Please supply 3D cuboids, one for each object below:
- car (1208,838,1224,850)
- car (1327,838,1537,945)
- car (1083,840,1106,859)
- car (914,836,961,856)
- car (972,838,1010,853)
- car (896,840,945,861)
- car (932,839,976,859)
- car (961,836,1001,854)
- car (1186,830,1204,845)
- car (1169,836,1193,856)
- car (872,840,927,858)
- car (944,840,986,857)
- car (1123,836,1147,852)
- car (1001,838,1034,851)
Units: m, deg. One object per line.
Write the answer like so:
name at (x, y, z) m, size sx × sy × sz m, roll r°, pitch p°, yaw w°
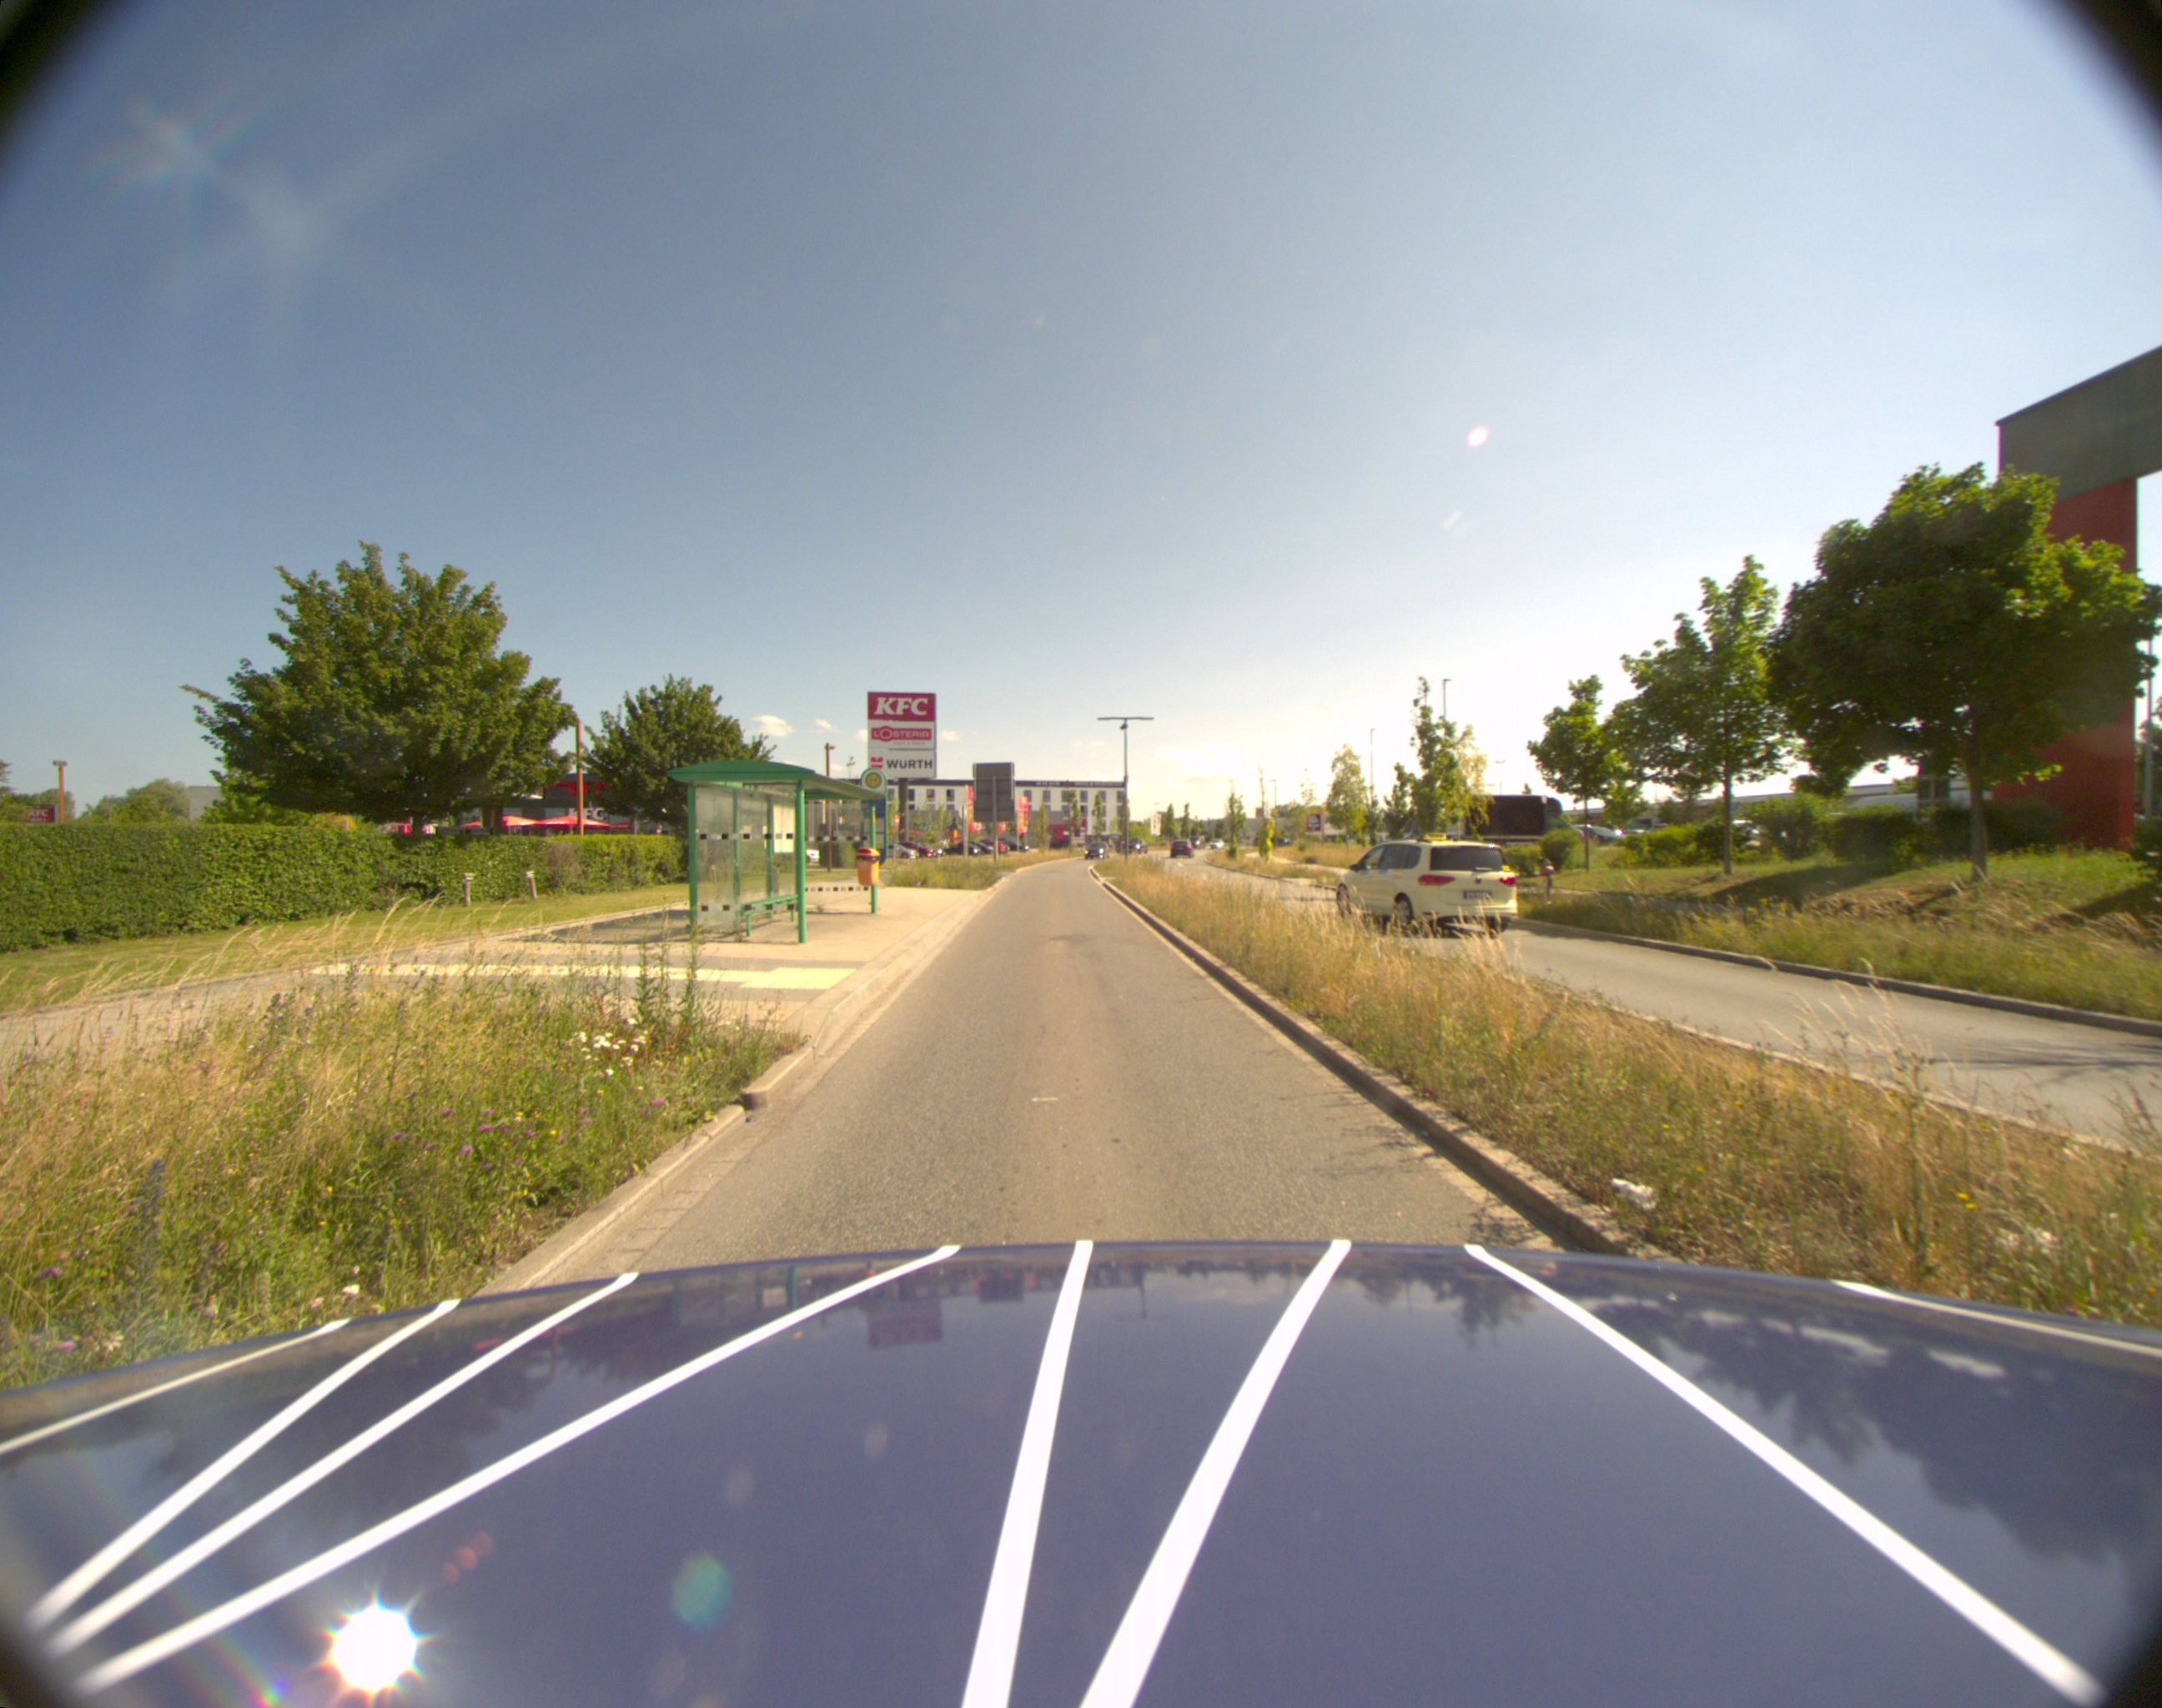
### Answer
car at (19.116, -1.415, 107.338) m, size 1.996 × 1.674 × 4.004 m, roll 0°, pitch 1°, yaw 14°
car at (6.342, 0.573, 14.344) m, size 1.862 × 1.705 × 4.155 m, roll 1°, pitch 1°, yaw -3°
car at (1.095, -0.363, 62.179) m, size 1.862 × 1.459 × 4.001 m, roll 0°, pitch -1°, yaw 1°
car at (-14.529, -0.786, 77.042) m, size 4.180 × 2.002 × 1.935 m, roll 0°, pitch 1°, yaw 12°
car at (-10.804, -1.067, 91.115) m, size 4.179 × 1.752 × 1.826 m, roll 0°, pitch 1°, yaw 16°
car at (-15.634, -0.369, 74.037) m, size 4.179 × 2.002 × 1.935 m, roll 0°, pitch 1°, yaw 13°
car at (-13.451, -0.519, 80.543) m, size 4.180 × 2.002 × 1.935 m, roll 0°, pitch 1°, yaw 13°
car at (-11.598, -1.077, 88.062) m, size 4.180 × 2.002 × 1.934 m, roll 0°, pitch 1°, yaw 11°
car at (16.854, -2.515, 112.482) m, size 2.077 × 2.037 × 4.686 m, roll -2°, pitch 1°, yaw 15°
car at (8.691, -0.688, 65.775) m, size 1.997 × 1.609 × 4.002 m, roll 0°, pitch 1°, yaw 7°
car at (-16.576, -0.475, 69.401) m, size 4.438 × 1.643 × 1.934 m, roll 0°, pitch 1°, yaw 5°
car at (-12.733, -0.624, 83.258) m, size 4.178 × 1.847 × 1.805 m, roll 0°, pitch 1°, yaw 16°
car at (5.767, -1.030, 80.689) m, size 1.959 × 1.653 × 4.686 m, roll 0°, pitch 1°, yaw 10°
car at (-8.092, -1.214, 97.357) m, size 3.818 × 1.610 × 1.758 m, roll 0°, pitch 1°, yaw 12°
